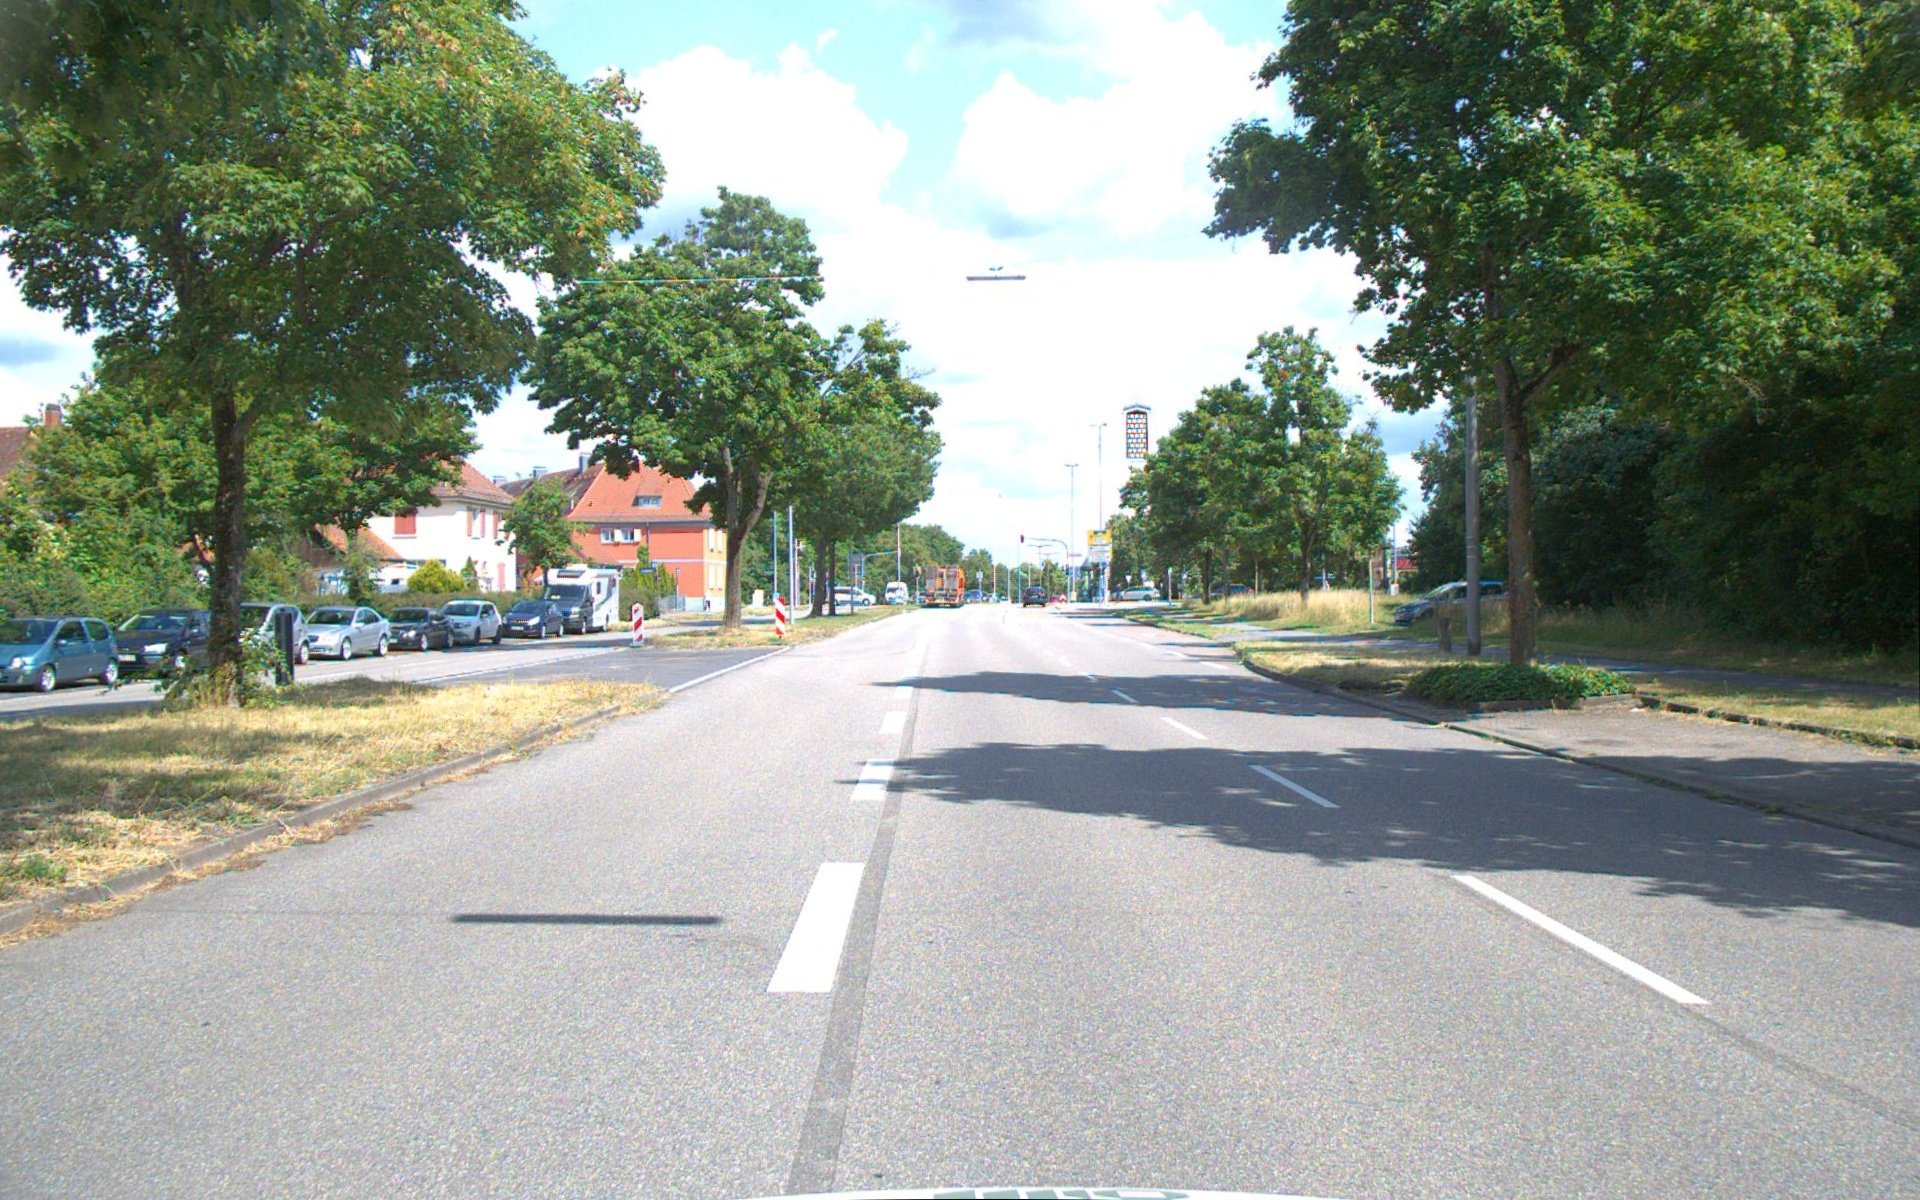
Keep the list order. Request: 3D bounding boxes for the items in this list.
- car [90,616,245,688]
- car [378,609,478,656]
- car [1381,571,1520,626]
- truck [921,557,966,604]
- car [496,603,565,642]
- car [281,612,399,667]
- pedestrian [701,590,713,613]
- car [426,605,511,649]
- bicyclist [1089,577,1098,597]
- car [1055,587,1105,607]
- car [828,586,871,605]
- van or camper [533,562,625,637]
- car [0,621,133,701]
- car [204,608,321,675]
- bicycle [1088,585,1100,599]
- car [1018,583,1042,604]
[{"bbox_3d":[-17.701,1.118,37.148,1.374,1.419,4.357,1,0,0],"label":"car"},{"bbox_3d":[-17.036,1.008,53.205,1.602,1.329,4.585,1,1,2],"label":"car"},{"bbox_3d":[16.592,-0.065,56.060,4.083,1.519,1.783,-4,2,-6],"label":"car"},{"bbox_3d":[-1.181,-1.434,129.279,3.007,3.474,11.070,1,0,2],"label":"truck"},{"bbox_3d":[-17.309,0.890,66.848,1.602,1.511,3.993,1,0,2],"label":"car"},{"bbox_3d":[-17.483,1.085,46.854,1.479,1.394,4.532,1,1,2],"label":"car"},{"bbox_3d":[-17.930,0.103,117.340,0.681,1.611,0.851,1,-1,2],"label":"pedestrian"},{"bbox_3d":[-17.505,0.938,59.046,1.654,1.511,4.125,1,0,2],"label":"car"},{"bbox_3d":[11.414,-1.096,141.586,0.634,1.690,0.650,1,-1,18],"label":"bicyclist"},{"bbox_3d":[9.070,-0.239,124.925,3.515,1.467,1.469,1,0,-16],"label":"car"},{"bbox_3d":[-10.411,-0.439,155.850,3.905,1.680,1.732,1,0,0],"label":"car"},{"bbox_3d":[-17.143,-0.076,74.899,2.212,3.166,7.322,1,1,2],"label":"van or camper"},{"bbox_3d":[-17.922,1.159,32.527,1.530,1.419,3.477,1,0,0],"label":"car"},{"bbox_3d":[-17.705,1.020,42.136,1.374,1.585,3.742,1,0,0],"label":"car"},{"bbox_3d":[11.465,-0.675,141.769,0.634,1.127,1.929,1,0,17],"label":"bicycle"},{"bbox_3d":[5.468,-0.513,129.659,1.762,1.579,4.001,1,0,2],"label":"car"}]
